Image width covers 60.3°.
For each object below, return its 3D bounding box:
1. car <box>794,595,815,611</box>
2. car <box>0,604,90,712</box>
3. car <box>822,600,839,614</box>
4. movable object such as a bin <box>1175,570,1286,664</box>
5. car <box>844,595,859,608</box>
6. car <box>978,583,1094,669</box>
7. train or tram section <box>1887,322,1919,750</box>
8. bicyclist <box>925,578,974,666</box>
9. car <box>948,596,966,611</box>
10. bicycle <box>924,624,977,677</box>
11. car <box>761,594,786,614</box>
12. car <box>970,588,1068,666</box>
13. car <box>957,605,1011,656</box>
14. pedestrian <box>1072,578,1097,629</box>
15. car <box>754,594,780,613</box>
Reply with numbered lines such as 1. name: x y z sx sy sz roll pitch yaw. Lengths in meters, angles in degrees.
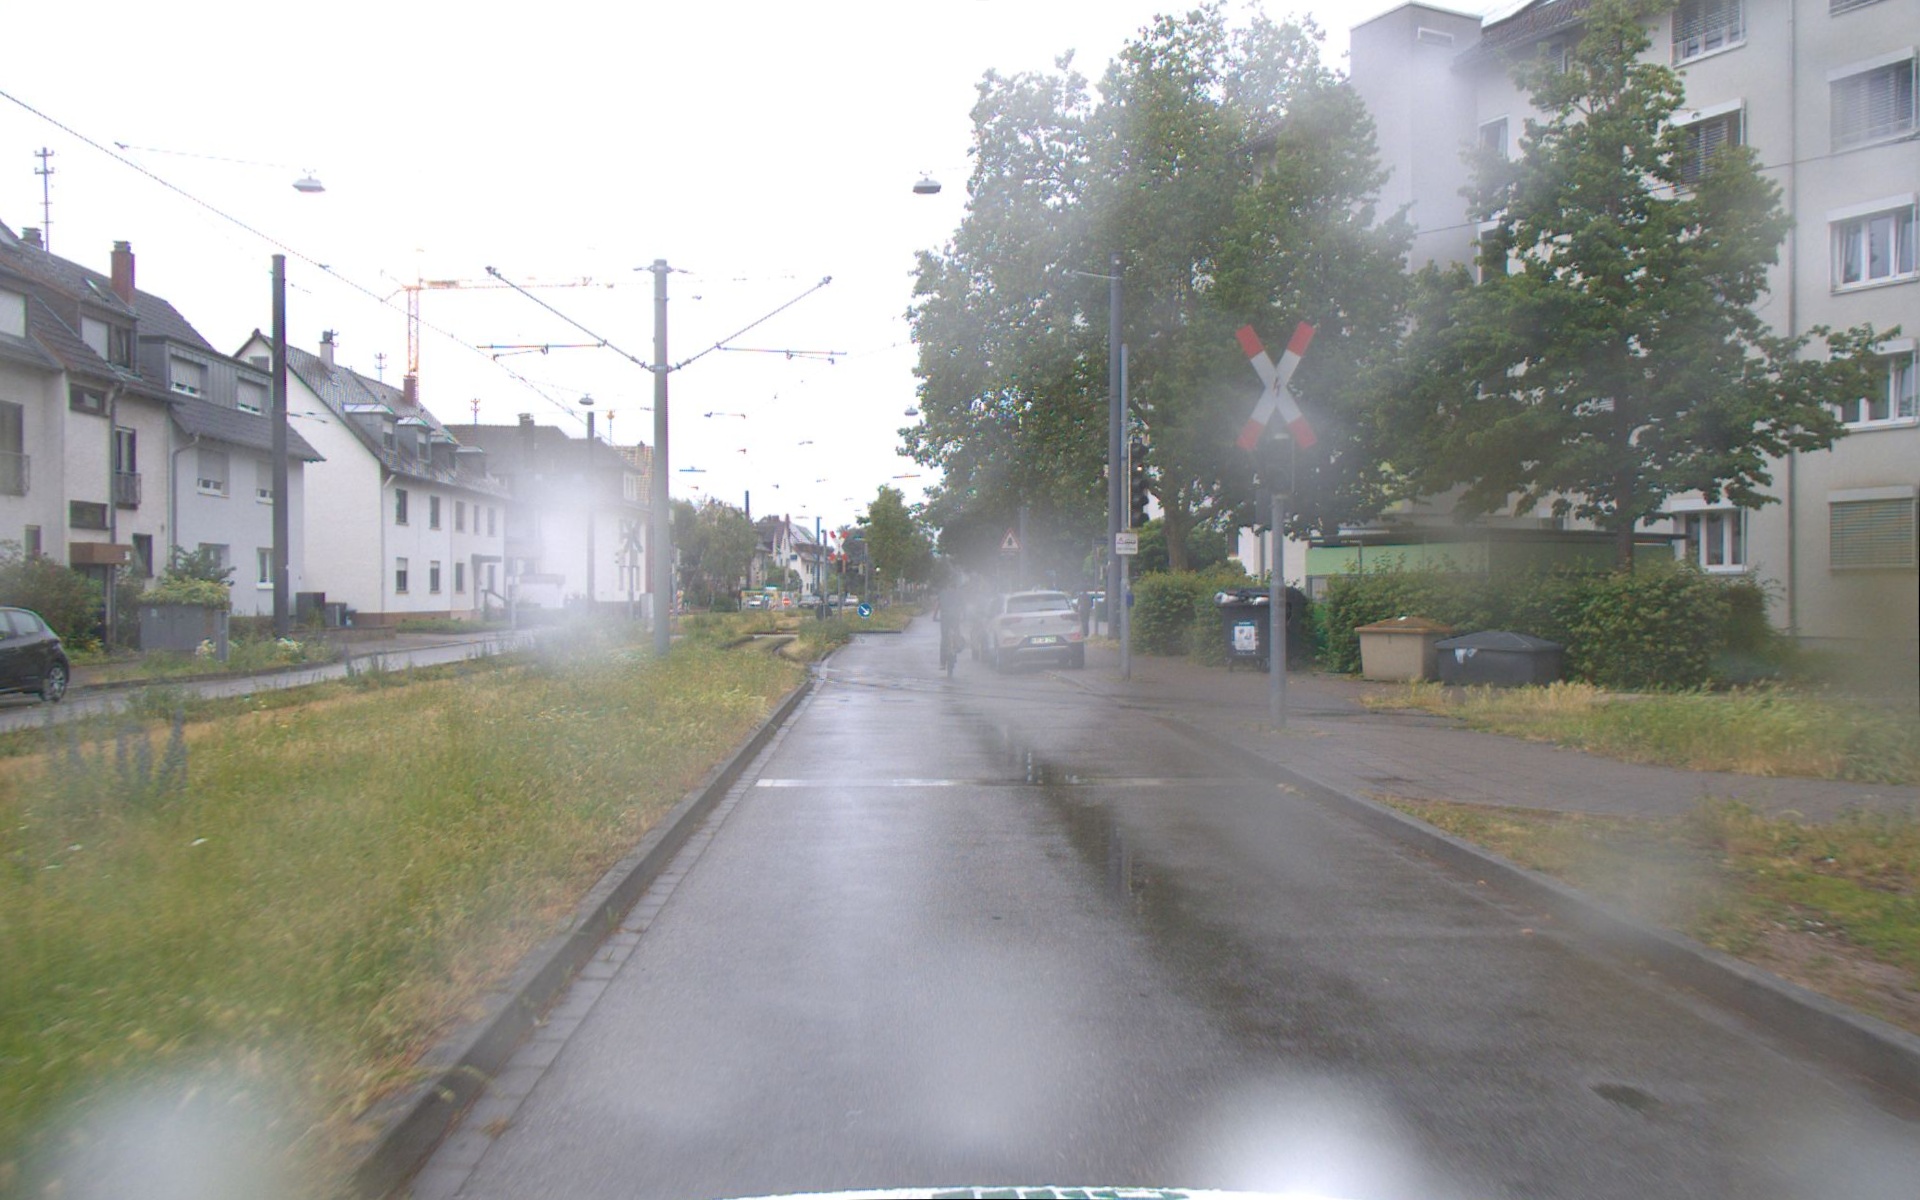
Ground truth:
1. car: -16.961 0.325 180.429 1.953 1.571 3.998 0 -2 -1
2. car: -14.528 0.841 23.919 1.839 1.530 4.130 0 -2 -3
3. car: -16.103 0.904 205.869 1.953 1.571 3.998 0 -2 -1
4. movable object such as a bin: 5.179 0.306 31.721 1.530 1.734 1.488 -1 0 -26
5. car: -14.972 0.188 228.067 1.953 1.571 3.998 0 -2 -1
6. car: 1.498 0.527 33.985 1.916 1.580 3.997 -2 -1 -4
7. train or tram section: 14.039 -0.546 10.102 2.695 3.653 14.492 2 -1 -45
8. bicyclist: -0.200 0.404 30.658 0.815 1.585 0.913 -1 -1 -5
9. car: -0.356 0.420 194.646 1.953 1.518 3.998 0 -2 -2
10. bicycle: -0.193 0.917 30.651 0.805 0.928 1.983 -1 -1 -5
11. car: -17.481 0.394 154.766 1.953 1.735 3.998 0 -2 -1
12. car: 1.339 0.637 39.208 1.903 1.680 3.997 -2 -1 -4
13. car: 0.976 1.280 69.882 1.903 2.049 3.997 -2 -1 -4
14. pedestrian: 4.345 0.132 57.775 0.733 1.746 0.750 -2 -1 -2
15. car: -17.419 0.308 149.626 1.953 1.571 3.998 0 -2 -1
